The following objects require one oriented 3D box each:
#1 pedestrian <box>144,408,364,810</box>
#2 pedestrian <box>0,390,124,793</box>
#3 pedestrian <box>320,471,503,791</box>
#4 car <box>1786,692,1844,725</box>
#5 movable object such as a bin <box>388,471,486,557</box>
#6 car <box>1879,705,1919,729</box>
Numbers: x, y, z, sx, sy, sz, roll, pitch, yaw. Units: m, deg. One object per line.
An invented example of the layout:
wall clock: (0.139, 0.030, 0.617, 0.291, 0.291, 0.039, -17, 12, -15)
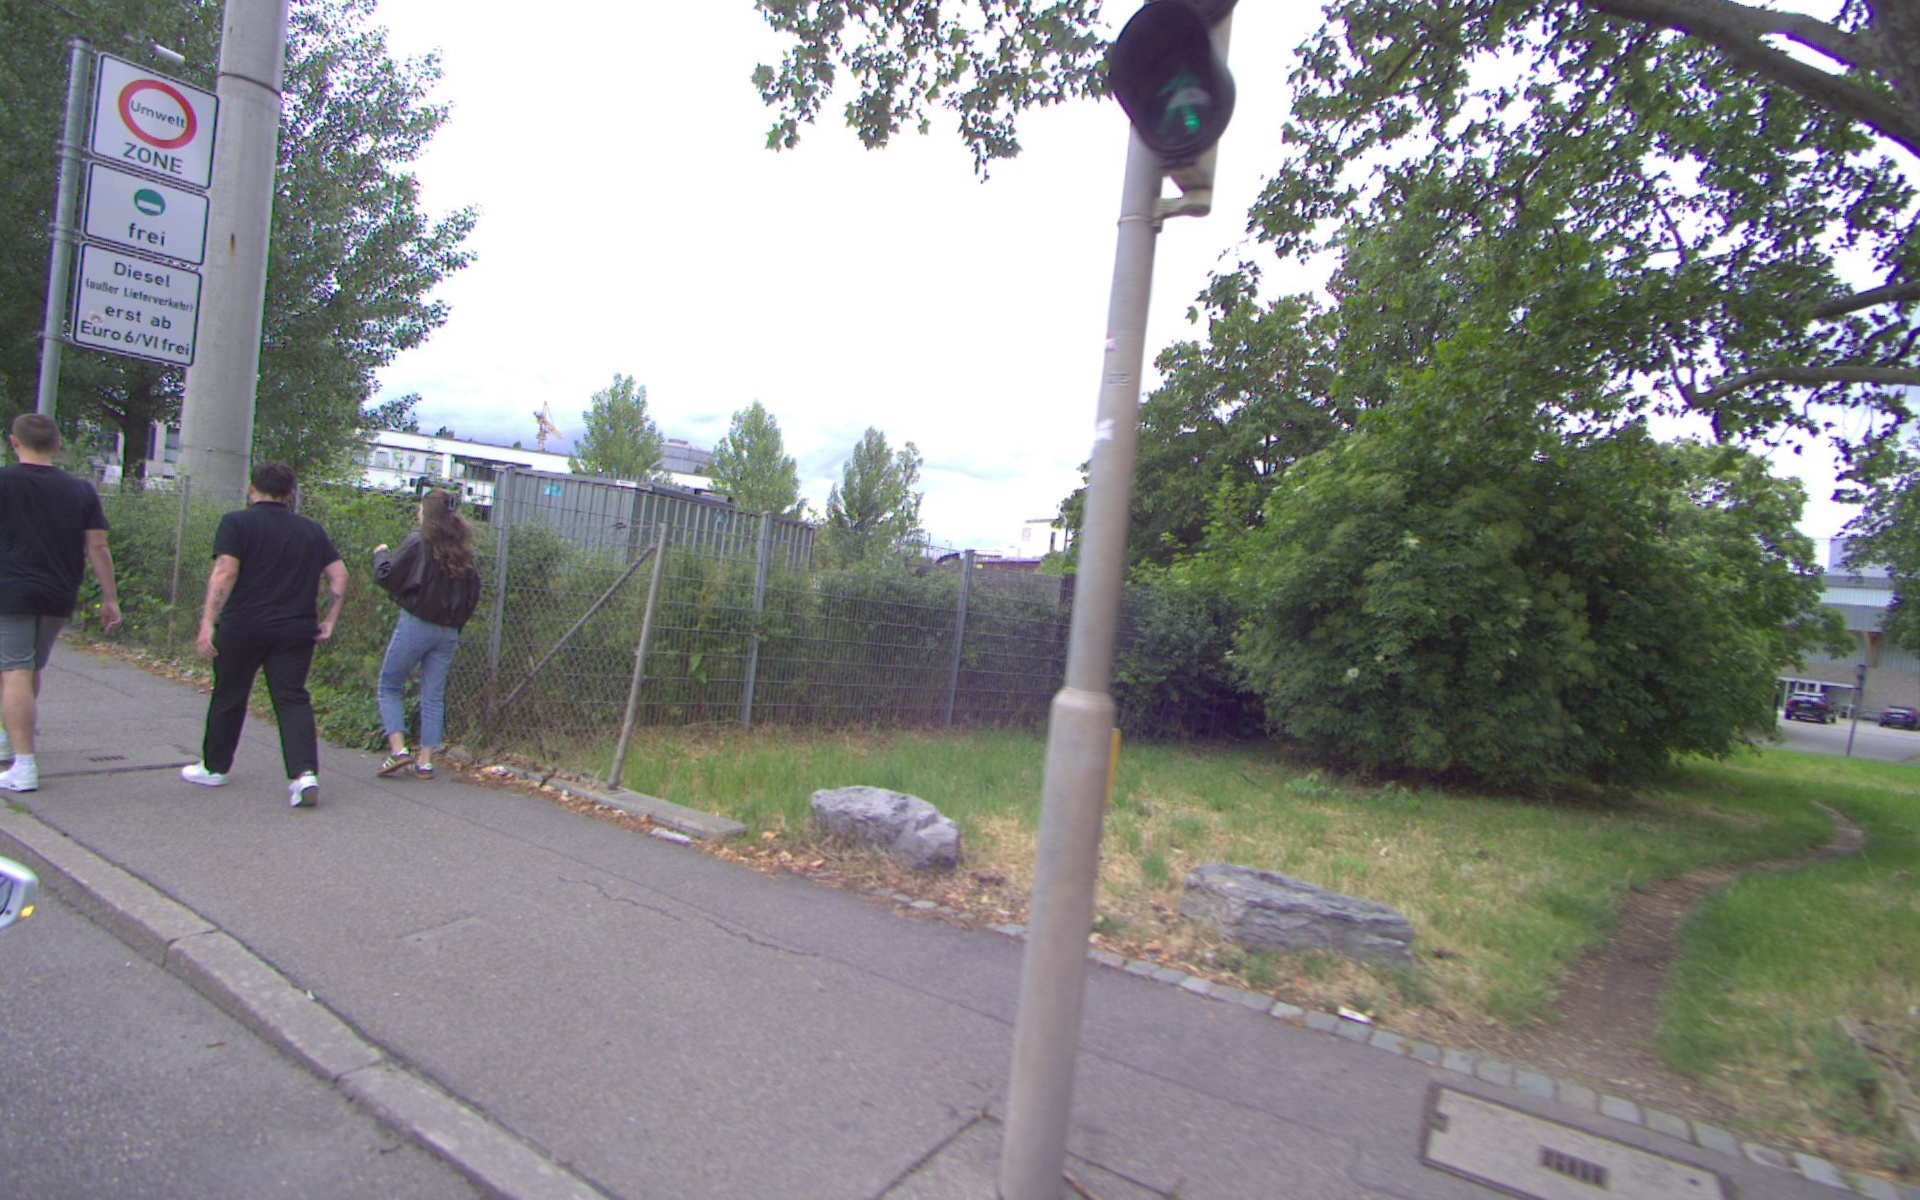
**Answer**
pedestrian: (-3.604, 0.033, 5.144, 0.661, 1.891, 0.602, 6, 2, 32)
pedestrian: (-4.714, -0.040, 5.008, 0.661, 1.891, 0.602, 3, 0, 32)
pedestrian: (-3.156, 0.168, 5.800, 0.661, 1.710, 0.602, 3, 0, 32)
car: (48.567, 6.189, 57.115, 3.972, 1.527, 1.893, 6, 1, -43)
movable object such as a bin: (-15.156, -2.384, 29.037, 1.979, 2.038, 4.259, 4, -1, -34)
car: (61.868, 7.655, 66.183, 3.544, 1.331, 1.734, 5, -1, -42)
